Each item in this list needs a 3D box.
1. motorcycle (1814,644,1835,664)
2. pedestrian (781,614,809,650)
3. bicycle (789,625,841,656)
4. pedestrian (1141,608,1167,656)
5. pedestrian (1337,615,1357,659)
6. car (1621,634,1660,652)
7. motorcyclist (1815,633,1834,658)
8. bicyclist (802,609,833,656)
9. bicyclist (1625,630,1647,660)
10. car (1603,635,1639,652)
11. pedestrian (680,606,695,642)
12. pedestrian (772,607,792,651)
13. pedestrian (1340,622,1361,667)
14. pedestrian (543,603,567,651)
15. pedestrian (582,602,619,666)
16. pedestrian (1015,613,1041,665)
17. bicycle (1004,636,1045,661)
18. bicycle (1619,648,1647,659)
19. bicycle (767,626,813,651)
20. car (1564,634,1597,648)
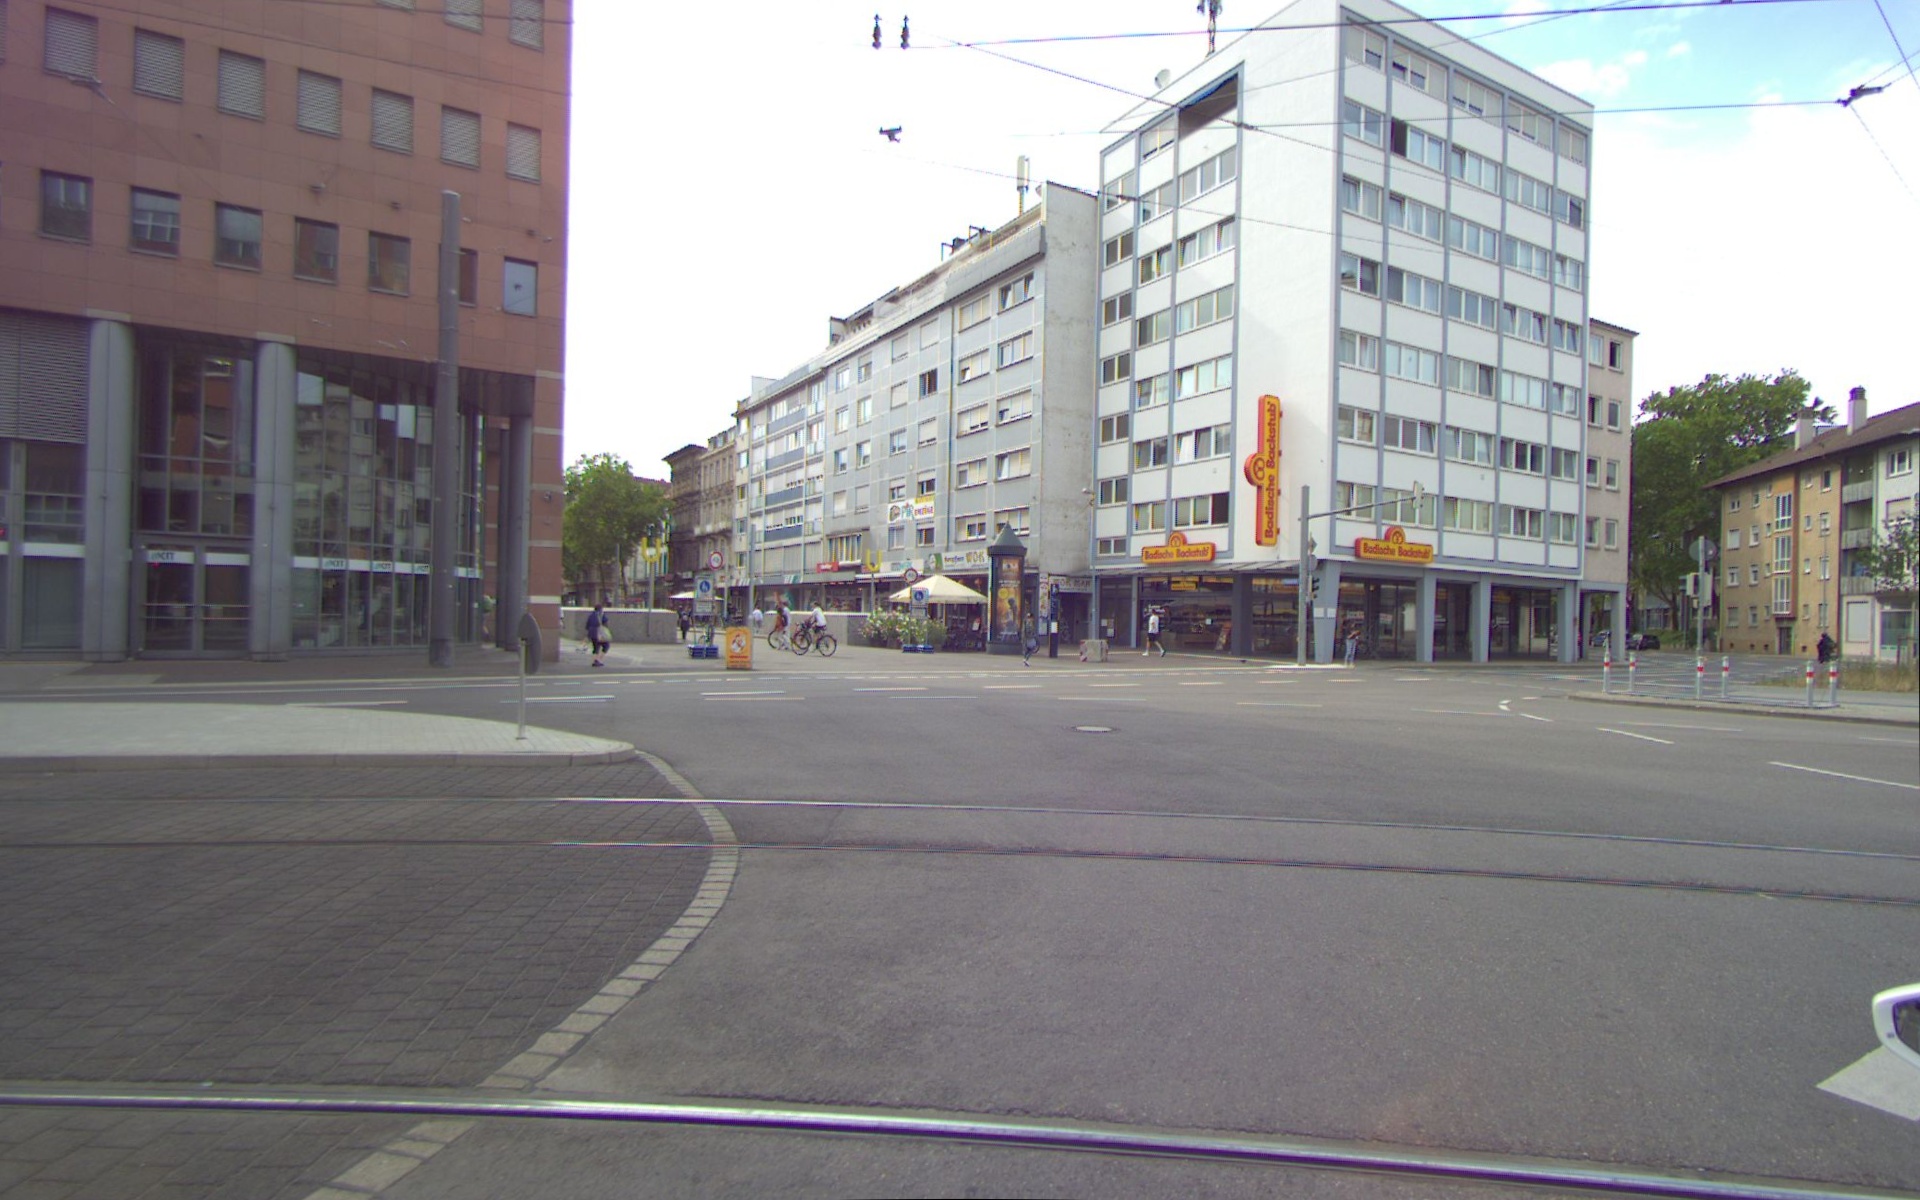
[{"bbox_3d":[45.884,2.847,53.325,0.332,1.021,1.266,1,-1,16],"label":"motorcycle"},{"bbox_3d":[-6.459,1.238,39.311,0.847,1.393,0.633,1,-1,18],"label":"pedestrian"},{"bbox_3d":[-5.032,1.395,34.870,1.753,1.002,0.473,1,-1,20],"label":"bicycle"},{"bbox_3d":[7.818,1.287,40.423,0.574,1.883,0.857,2,-1,-31],"label":"pedestrian"},{"bbox_3d":[15.856,1.525,41.134,0.582,1.788,0.473,1,0,-30],"label":"pedestrian"},{"bbox_3d":[61.484,3.842,90.816,1.629,1.441,3.868,1,0,15],"label":"car"},{"bbox_3d":[45.918,2.417,53.378,0.514,1.330,0.677,1,-1,17],"label":"motorcyclist"},{"bbox_3d":[-4.925,1.112,34.697,0.866,1.590,0.547,1,-1,20],"label":"bicyclist"},{"bbox_3d":[39.212,2.608,58.272,1.024,1.668,0.605,2,-1,-28],"label":"bicyclist"},{"bbox_3d":[62.876,4.139,95.582,1.629,1.441,3.949,1,0,15],"label":"car"},{"bbox_3d":[-12.430,1.097,45.767,0.514,1.598,0.503,2,-1,-28],"label":"pedestrian"},{"bbox_3d":[-6.808,1.108,38.363,0.458,1.663,0.633,1,-1,21],"label":"pedestrian"},{"bbox_3d":[14.130,1.604,36.359,0.512,1.580,0.495,2,-1,-33],"label":"pedestrian"},{"bbox_3d":[-12.733,0.847,31.575,0.574,1.492,0.650,2,-1,-29],"label":"pedestrian"},{"bbox_3d":[-8.672,0.816,24.232,0.676,1.492,0.793,2,-1,-29],"label":"pedestrian"},{"bbox_3d":[2.160,1.228,31.794,0.647,1.615,0.689,1,-1,17],"label":"pedestrian"},{"bbox_3d":[2.719,2.049,42.547,1.759,1.002,0.472,1,-1,36],"label":"bicycle"},{"bbox_3d":[39.049,3.098,58.273,1.973,0.596,0.481,2,-1,-28],"label":"bicycle"},{"bbox_3d":[-6.681,1.496,39.377,1.753,0.900,0.473,1,-1,20],"label":"bicycle"},{"bbox_3d":[65.203,4.292,105.677,1.647,1.412,4.464,2,-1,14],"label":"car"}]
